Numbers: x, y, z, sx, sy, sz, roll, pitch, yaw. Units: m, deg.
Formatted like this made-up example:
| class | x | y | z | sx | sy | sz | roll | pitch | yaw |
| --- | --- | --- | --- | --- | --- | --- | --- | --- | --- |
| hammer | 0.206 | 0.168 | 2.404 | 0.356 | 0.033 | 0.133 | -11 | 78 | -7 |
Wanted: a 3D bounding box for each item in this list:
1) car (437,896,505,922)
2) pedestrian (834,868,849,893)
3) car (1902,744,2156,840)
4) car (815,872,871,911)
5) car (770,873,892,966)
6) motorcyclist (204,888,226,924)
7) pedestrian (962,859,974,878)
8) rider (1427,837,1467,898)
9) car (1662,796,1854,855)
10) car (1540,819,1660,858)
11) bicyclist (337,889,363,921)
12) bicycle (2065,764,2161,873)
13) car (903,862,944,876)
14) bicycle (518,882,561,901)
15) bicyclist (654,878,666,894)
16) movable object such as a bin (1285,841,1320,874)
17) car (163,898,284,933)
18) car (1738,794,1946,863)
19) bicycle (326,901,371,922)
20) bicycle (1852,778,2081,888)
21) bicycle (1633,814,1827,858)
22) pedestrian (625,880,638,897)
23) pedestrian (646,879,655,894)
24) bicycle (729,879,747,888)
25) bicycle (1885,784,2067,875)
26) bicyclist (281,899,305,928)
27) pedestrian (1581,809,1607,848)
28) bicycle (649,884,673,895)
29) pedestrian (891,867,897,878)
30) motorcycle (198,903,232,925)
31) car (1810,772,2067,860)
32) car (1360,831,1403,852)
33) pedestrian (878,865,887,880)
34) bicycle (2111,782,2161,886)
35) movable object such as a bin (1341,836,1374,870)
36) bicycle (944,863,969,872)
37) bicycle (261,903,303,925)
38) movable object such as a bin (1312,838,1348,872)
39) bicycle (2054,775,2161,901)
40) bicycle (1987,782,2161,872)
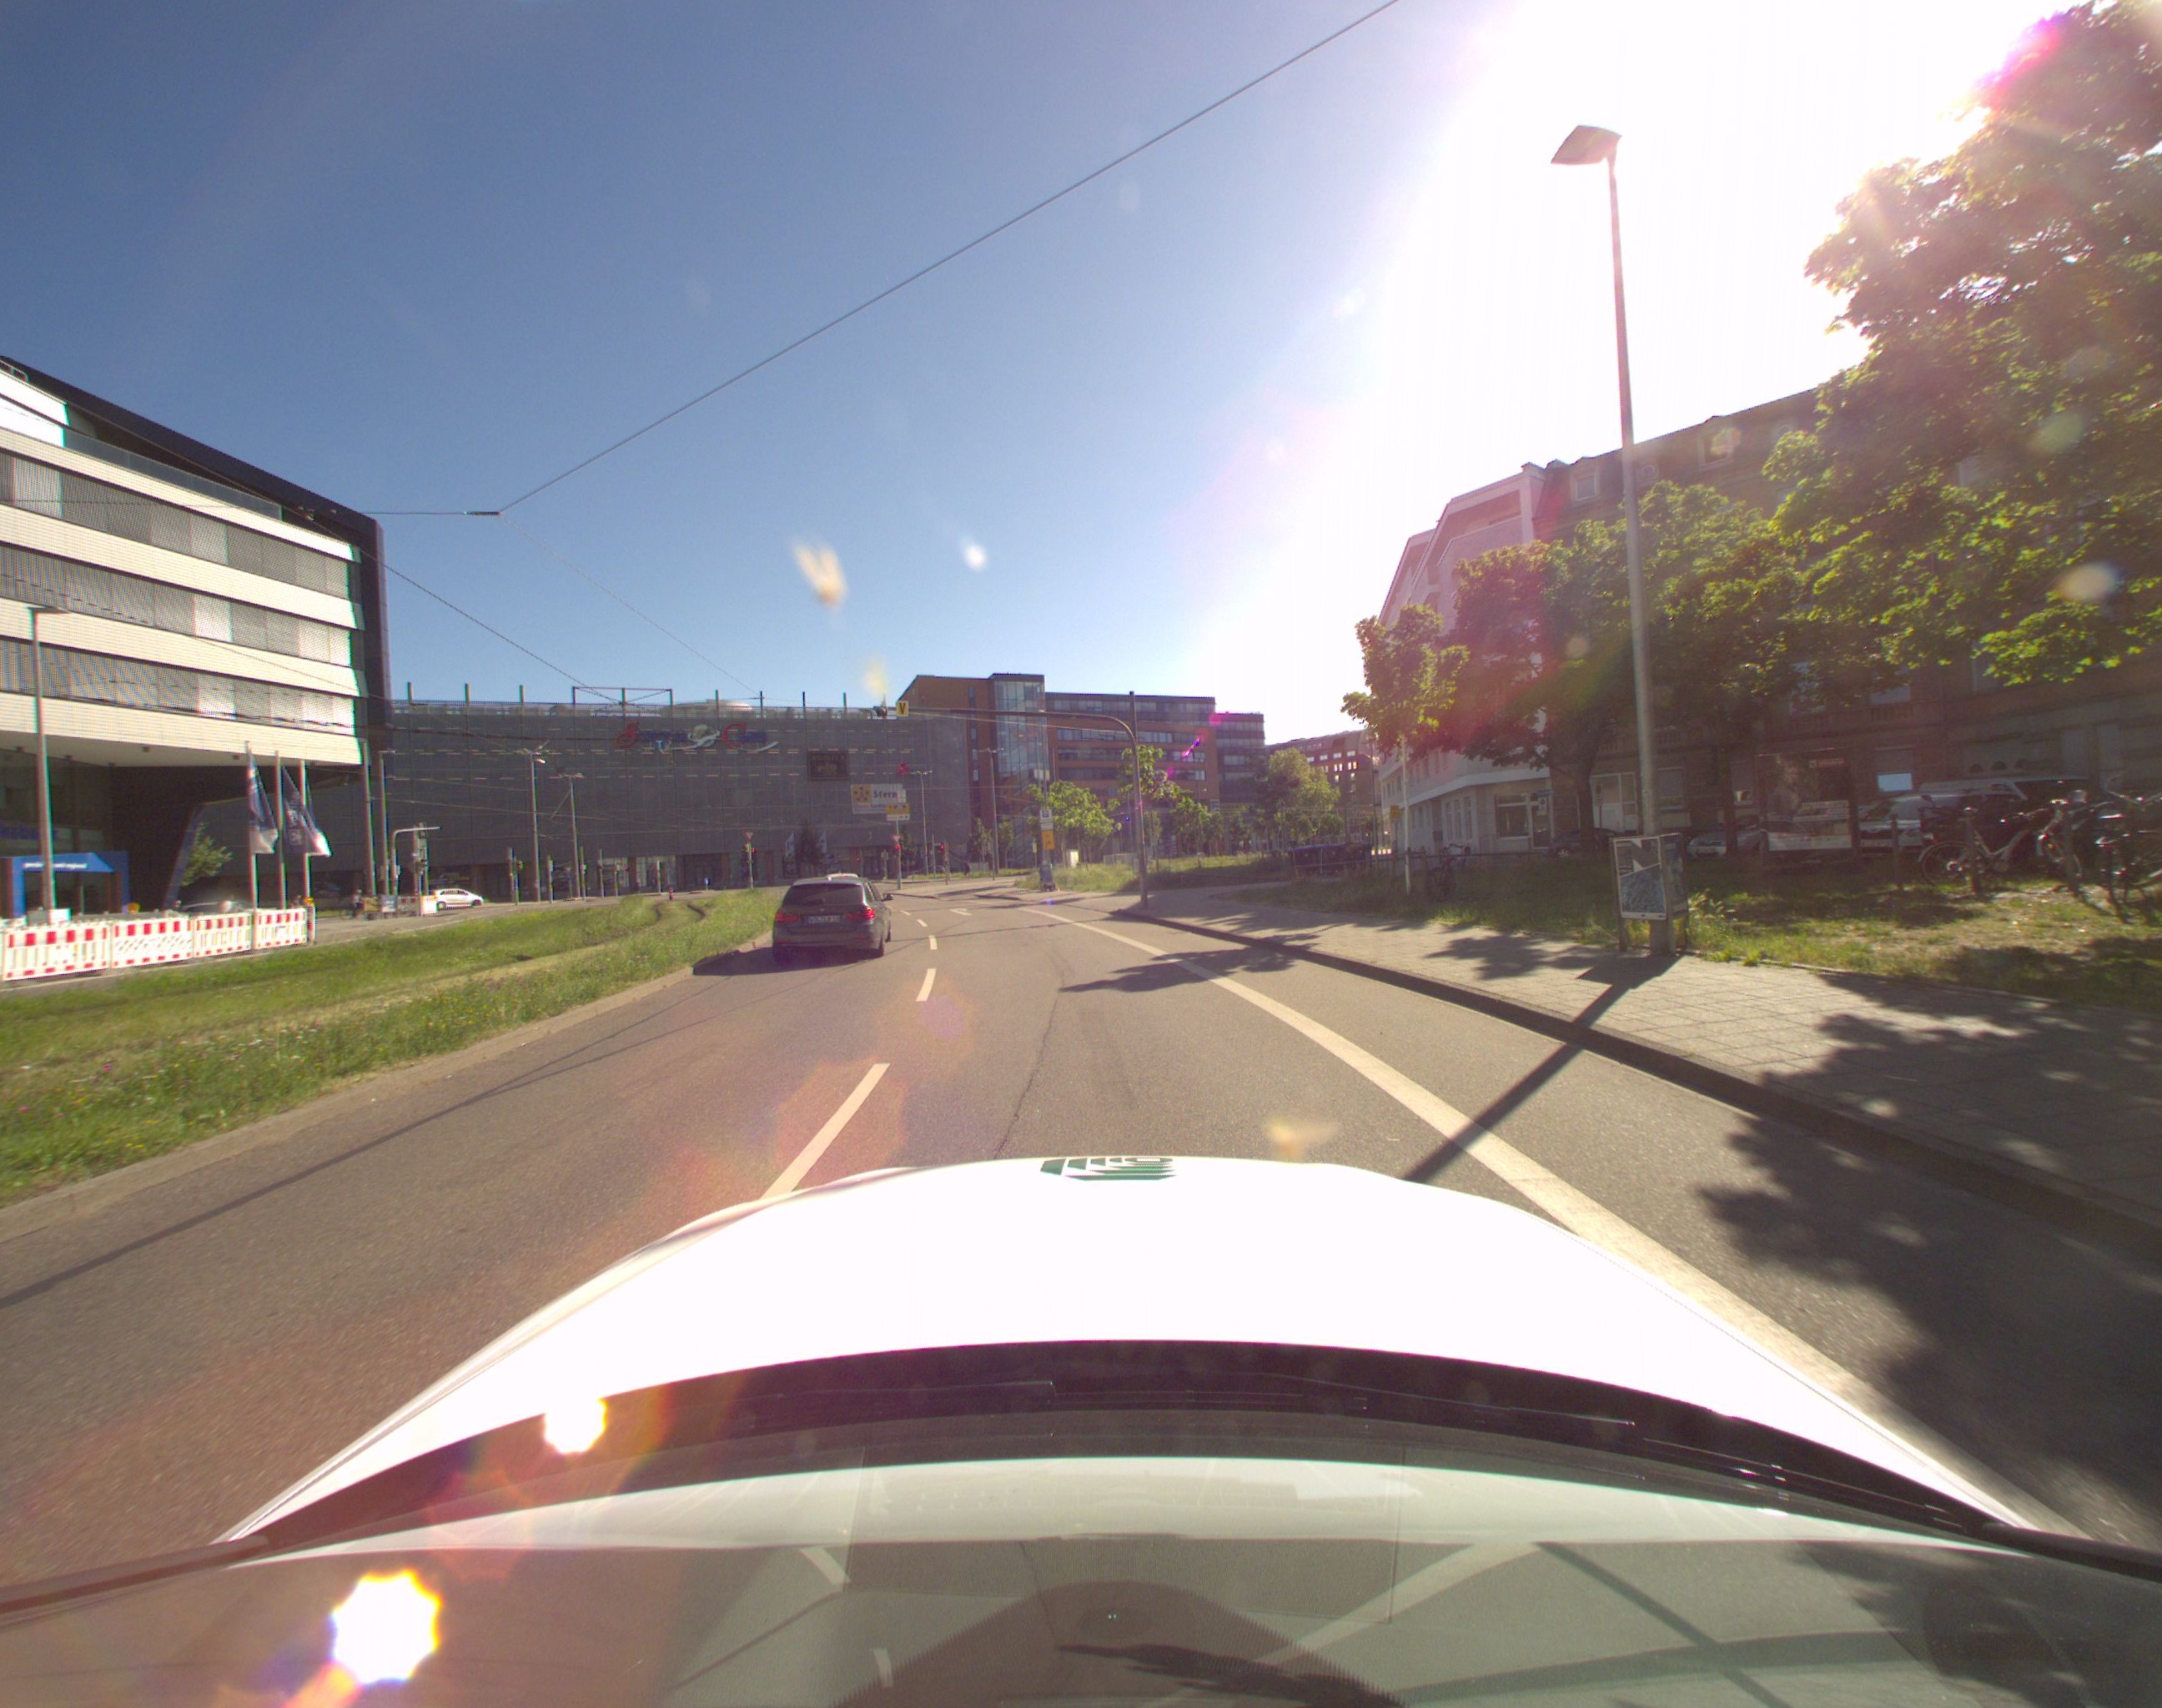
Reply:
| class | x | y | z | sx | sy | sz | roll | pitch | yaw |
| --- | --- | --- | --- | --- | --- | --- | --- | --- | --- |
| car | -48.441 | 4.368 | 64.754 | 1.739 | 1.794 | 4.017 | -2 | -2 | 17 |
| pedestrian | -16.765 | 1.834 | 56.995 | 0.890 | 1.707 | 0.707 | -3 | -1 | -25 |
| car | 28.049 | -1.726 | 24.478 | 2.332 | 2.357 | 5.209 | -5 | 0 | 15 |
| car | -9.314 | 1.428 | 31.709 | 1.640 | 1.423 | 3.751 | 0 | -2 | -24 |
| car | -4.456 | 1.089 | 15.081 | 1.735 | 1.423 | 4.449 | 0 | -2 | -12 |
| motorcyclist | -49.248 | 2.949 | 46.314 | 0.631 | 2.013 | 0.493 | -3 | -1 | -24 |
| pedestrian | -10.359 | 1.312 | 74.663 | 0.810 | 1.708 | 0.755 | -3 | -1 | -24 |
| rider | 7.747 | 0.267 | 17.201 | 0.497 | 1.176 | 1.687 | -4 | 0 | 31 |
| car | 18.523 | -0.772 | 22.351 | 4.043 | 1.337 | 1.833 | -3 | 0 | -10 |
| car | 22.332 | -0.644 | 35.120 | 4.055 | 1.436 | 2.013 | -4 | -1 | 41 |
| bicyclist | -44.387 | 3.091 | 49.467 | 0.906 | 1.859 | 0.847 | -3 | -1 | -24 |
| bicycle | 14.446 | -0.493 | 10.584 | 2.081 | 1.365 | 0.789 | -3 | -1 | 8 |
| car | -18.825 | 1.791 | 97.134 | 4.508 | 1.494 | 1.483 | -3 | 0 | -24 |
| bicycle | -63.231 | 4.330 | 95.141 | 4.005 | 2.013 | 1.319 | -2 | 0 | -24 |
| bicyclist | -48.349 | 3.689 | 93.594 | 0.806 | 1.803 | 0.850 | -3 | -1 | 24 |
| movable object such as a bin | 9.854 | 0.152 | 36.188 | 1.058 | 1.398 | 1.312 | -4 | 0 | 34 |
| car | -51.048 | 3.644 | 48.608 | 4.512 | 1.635 | 1.824 | -3 | 1 | -26 |
| car | 18.505 | -0.599 | 19.872 | 3.832 | 1.441 | 1.754 | -3 | 0 | -11 |
| bicycle | -44.438 | 3.486 | 49.426 | 1.837 | 1.116 | 0.847 | -1 | -1 | -24 |
| bicycle | 12.280 | -0.272 | 11.365 | 2.081 | 1.365 | 0.789 | -3 | -1 | 8 |
| bicycle | 20.726 | -0.542 | 26.423 | 2.659 | 1.127 | 5.236 | -3 | 0 | 9 |
| pedestrian | -51.183 | 3.896 | 92.774 | 0.895 | 1.868 | 0.825 | -3 | -1 | 19 |
| pedestrian | -52.680 | 3.987 | 99.679 | 0.852 | 1.763 | 0.615 | -3 | -1 | -25 |
| bicycle | -43.193 | 3.739 | 102.653 | 2.036 | 1.059 | 1.135 | -3 | 0 | -25 |
| bicycle | 15.169 | -0.399 | 13.854 | 2.084 | 1.398 | 0.788 | -3 | -1 | 3 |
| bicyclist | -46.685 | 3.506 | 48.246 | 0.786 | 1.648 | 0.684 | -3 | -1 | -26 |
| pedestrian | 21.716 | -1.073 | 34.474 | 0.775 | 1.577 | 0.635 | -3 | -1 | -39 |
| bicycle | -48.288 | 4.059 | 93.665 | 1.033 | 1.070 | 2.258 | -3 | 0 | 26 |
| pedestrian | -24.843 | 2.459 | 108.143 | 0.592 | 1.534 | 0.653 | -3 | -1 | -24 |
| motorcycle | -49.228 | 3.409 | 46.298 | 1.192 | 1.121 | 0.479 | -3 | -1 | -25 |
| car | 17.970 | -0.789 | 17.105 | 4.467 | 1.565 | 1.926 | -3 | 0 | -18 |
| car | 32.645 | -1.347 | 88.485 | 3.949 | 2.013 | 2.013 | -3 | -1 | 29 |
| pedestrian | -24.364 | 2.294 | 99.968 | 0.859 | 1.738 | 0.746 | -3 | -1 | -30 |
| bicycle | 13.443 | -0.310 | 9.284 | 1.943 | 1.192 | 0.845 | -5 | -1 | 13 |
| movable object such as a bin | 12.046 | -0.049 | 35.493 | 1.018 | 1.398 | 1.097 | -4 | 0 | 34 |
| bicycle | -17.496 | 1.919 | 114.699 | 3.370 | 1.077 | 1.110 | -2 | 0 | -18 |
| bicycle | -47.135 | 3.527 | 48.060 | 1.585 | 1.107 | 0.728 | -3 | -1 | -28 |
| movable object such as a bin | 10.988 | 0.041 | 35.968 | 1.096 | 1.398 | 1.329 | -4 | 0 | 34 |
| bicycle | 11.552 | -0.199 | 9.072 | 1.605 | 1.290 | 0.761 | -4 | 0 | -36 |
| bicycle | 14.551 | -0.390 | 11.575 | 2.149 | 1.158 | 0.825 | -3 | -1 | 10 |
